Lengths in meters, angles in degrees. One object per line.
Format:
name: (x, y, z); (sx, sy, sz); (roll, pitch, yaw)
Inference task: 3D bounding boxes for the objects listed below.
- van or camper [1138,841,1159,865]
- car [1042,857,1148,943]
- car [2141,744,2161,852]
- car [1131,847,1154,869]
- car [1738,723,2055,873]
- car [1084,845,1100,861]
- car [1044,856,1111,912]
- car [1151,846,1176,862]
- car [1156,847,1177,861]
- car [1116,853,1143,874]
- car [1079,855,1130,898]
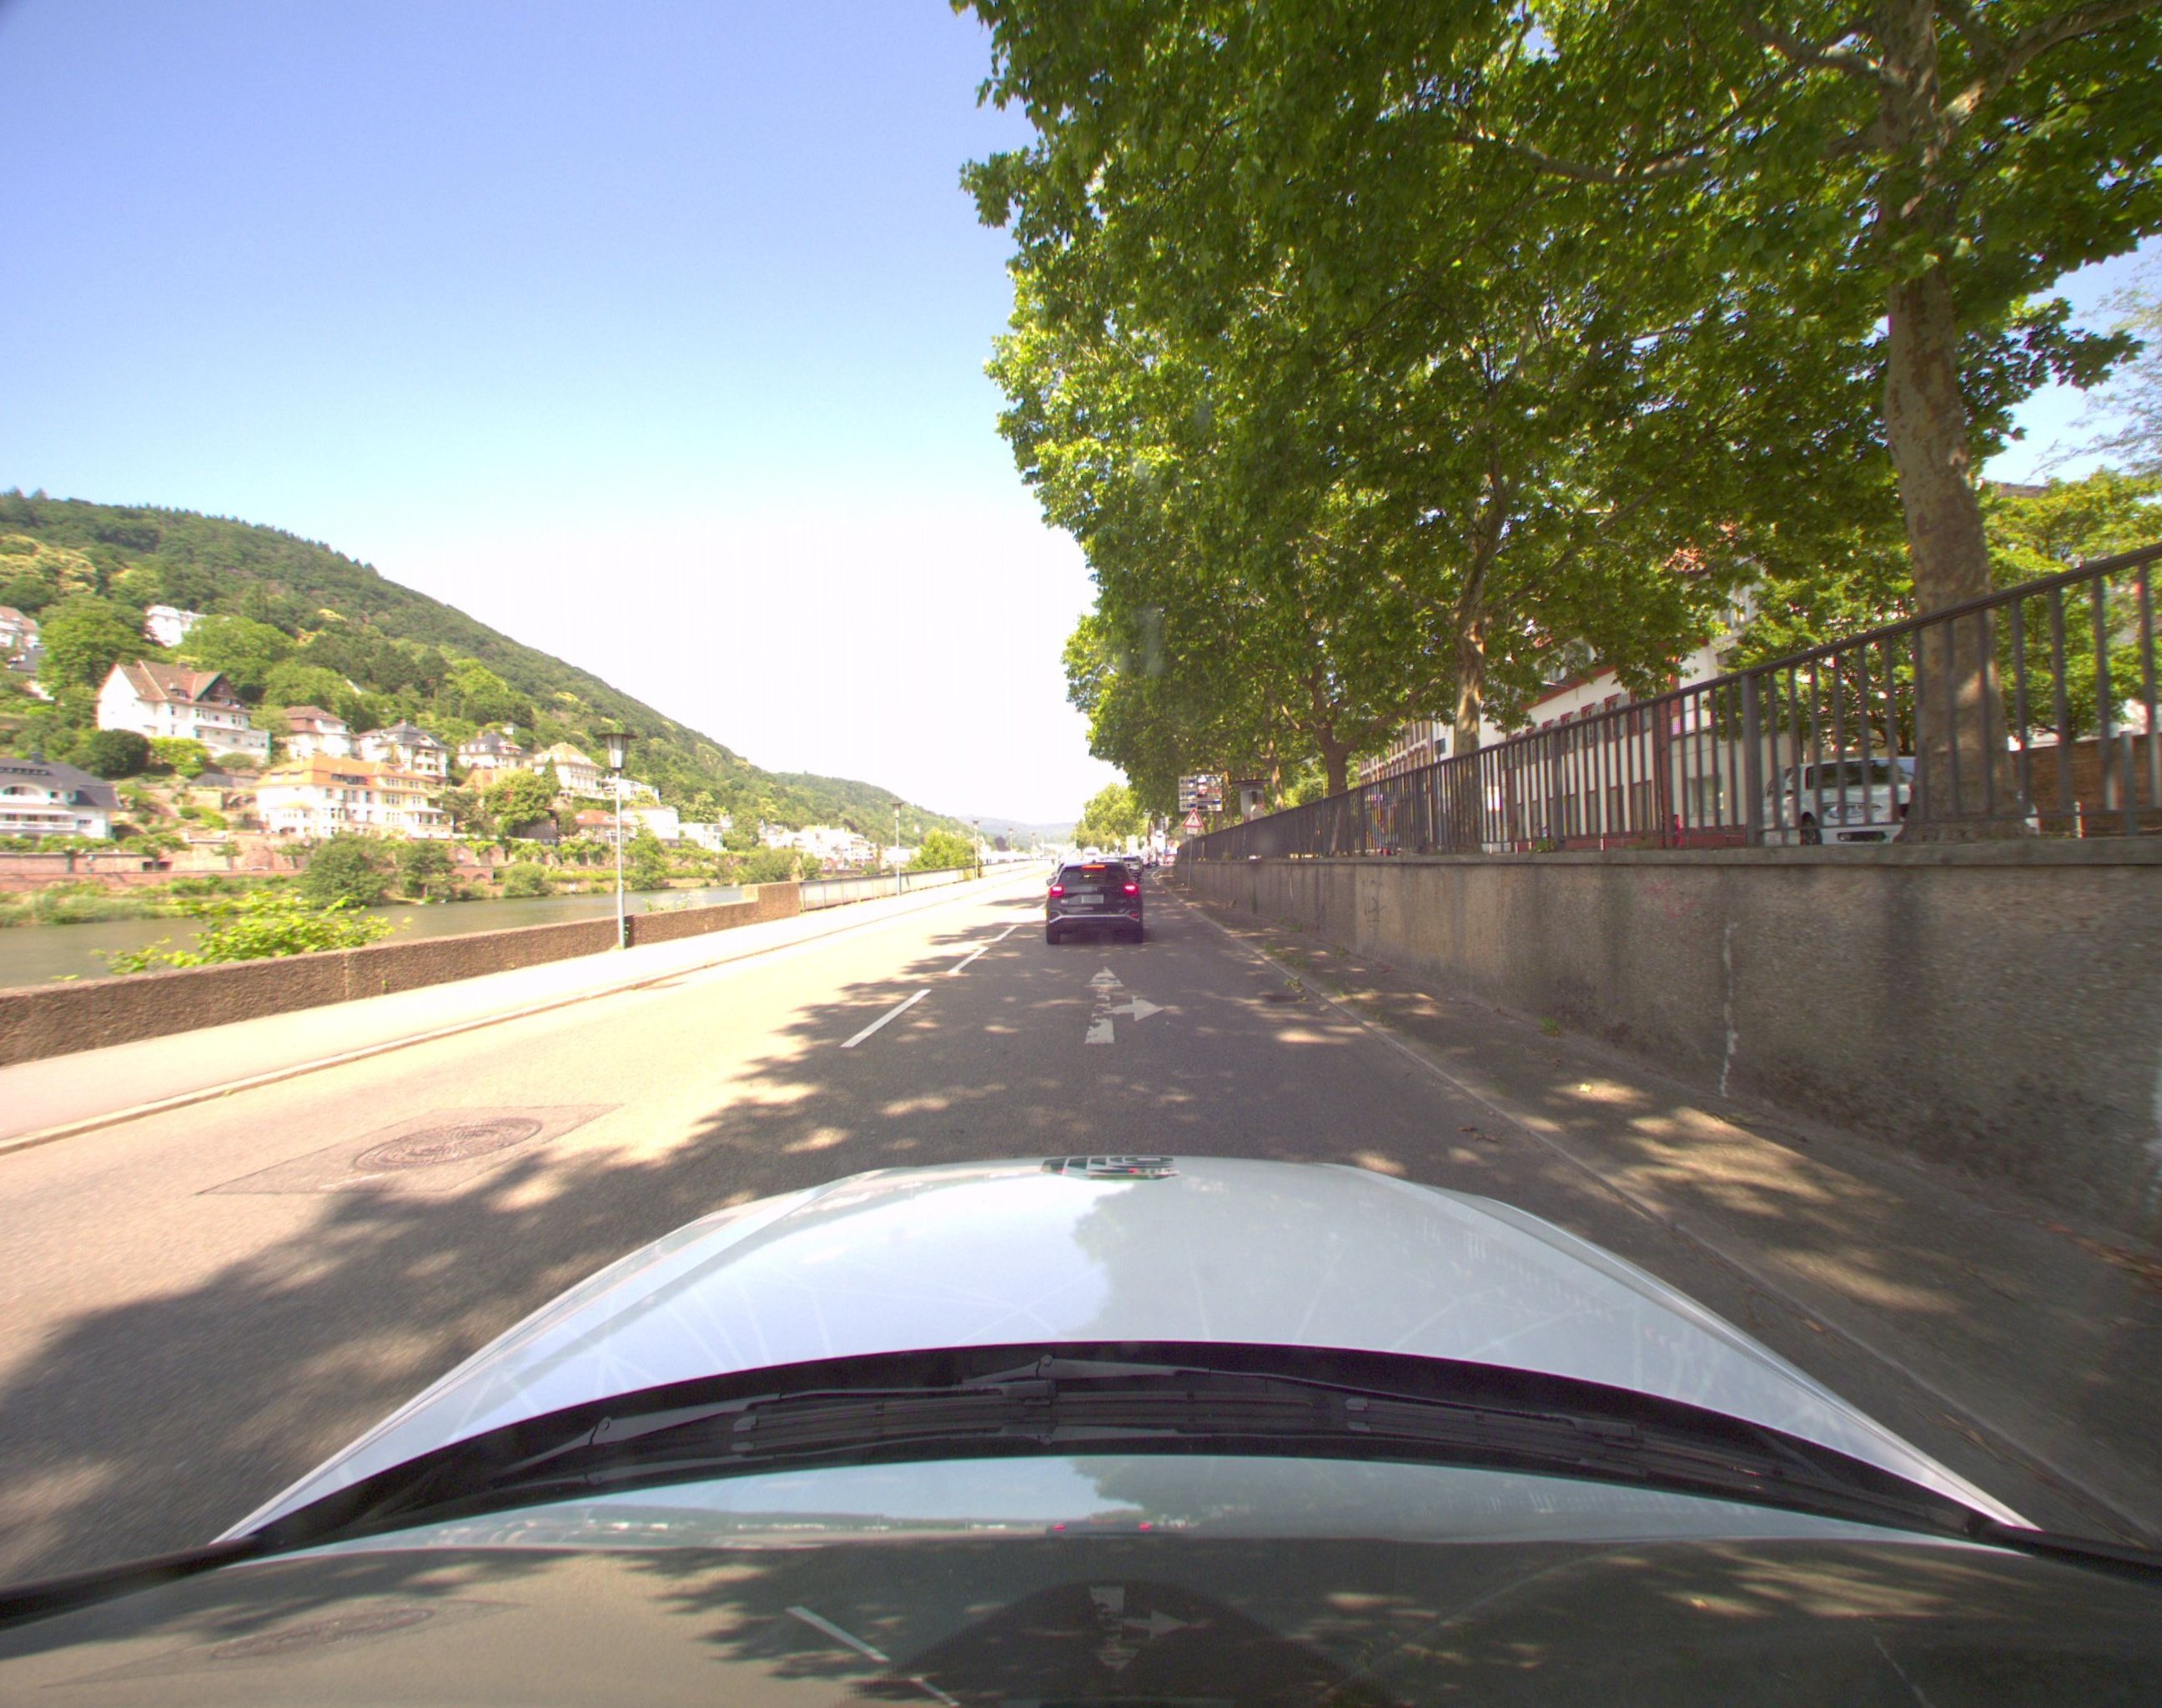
van or camper: (8.370, -0.106, 101.160); (2.300, 2.847, 4.249); (-4, 0, 3)
car: (0.292, 0.808, 16.194); (1.822, 1.486, 4.001); (-1, 0, 1)
car: (15.154, -0.814, 9.068); (1.866, 1.427, 3.721); (-4, 0, 3)
car: (6.653, 0.378, 87.693); (1.982, 2.169, 4.009); (-4, 0, 8)
car: (9.809, -0.557, 10.221); (1.757, 1.469, 4.025); (-1, 0, 29)
car: (1.481, -0.132, 111.671); (1.986, 2.013, 4.001); (-4, 0, 1)
car: (-0.039, 0.827, 24.379); (1.822, 1.511, 4.001); (-1, 0, 1)
car: (11.954, -0.016, 118.360); (3.087, 2.013, 5.825); (-4, 0, 1)
car: (13.642, -0.042, 130.041); (2.652, 2.013, 5.826); (-4, 0, 1)
car: (3.433, 0.688, 58.405); (1.822, 1.444, 4.001); (-1, 0, 1)
car: (0.882, 0.805, 31.004); (1.822, 1.486, 4.001); (-1, 0, 1)
